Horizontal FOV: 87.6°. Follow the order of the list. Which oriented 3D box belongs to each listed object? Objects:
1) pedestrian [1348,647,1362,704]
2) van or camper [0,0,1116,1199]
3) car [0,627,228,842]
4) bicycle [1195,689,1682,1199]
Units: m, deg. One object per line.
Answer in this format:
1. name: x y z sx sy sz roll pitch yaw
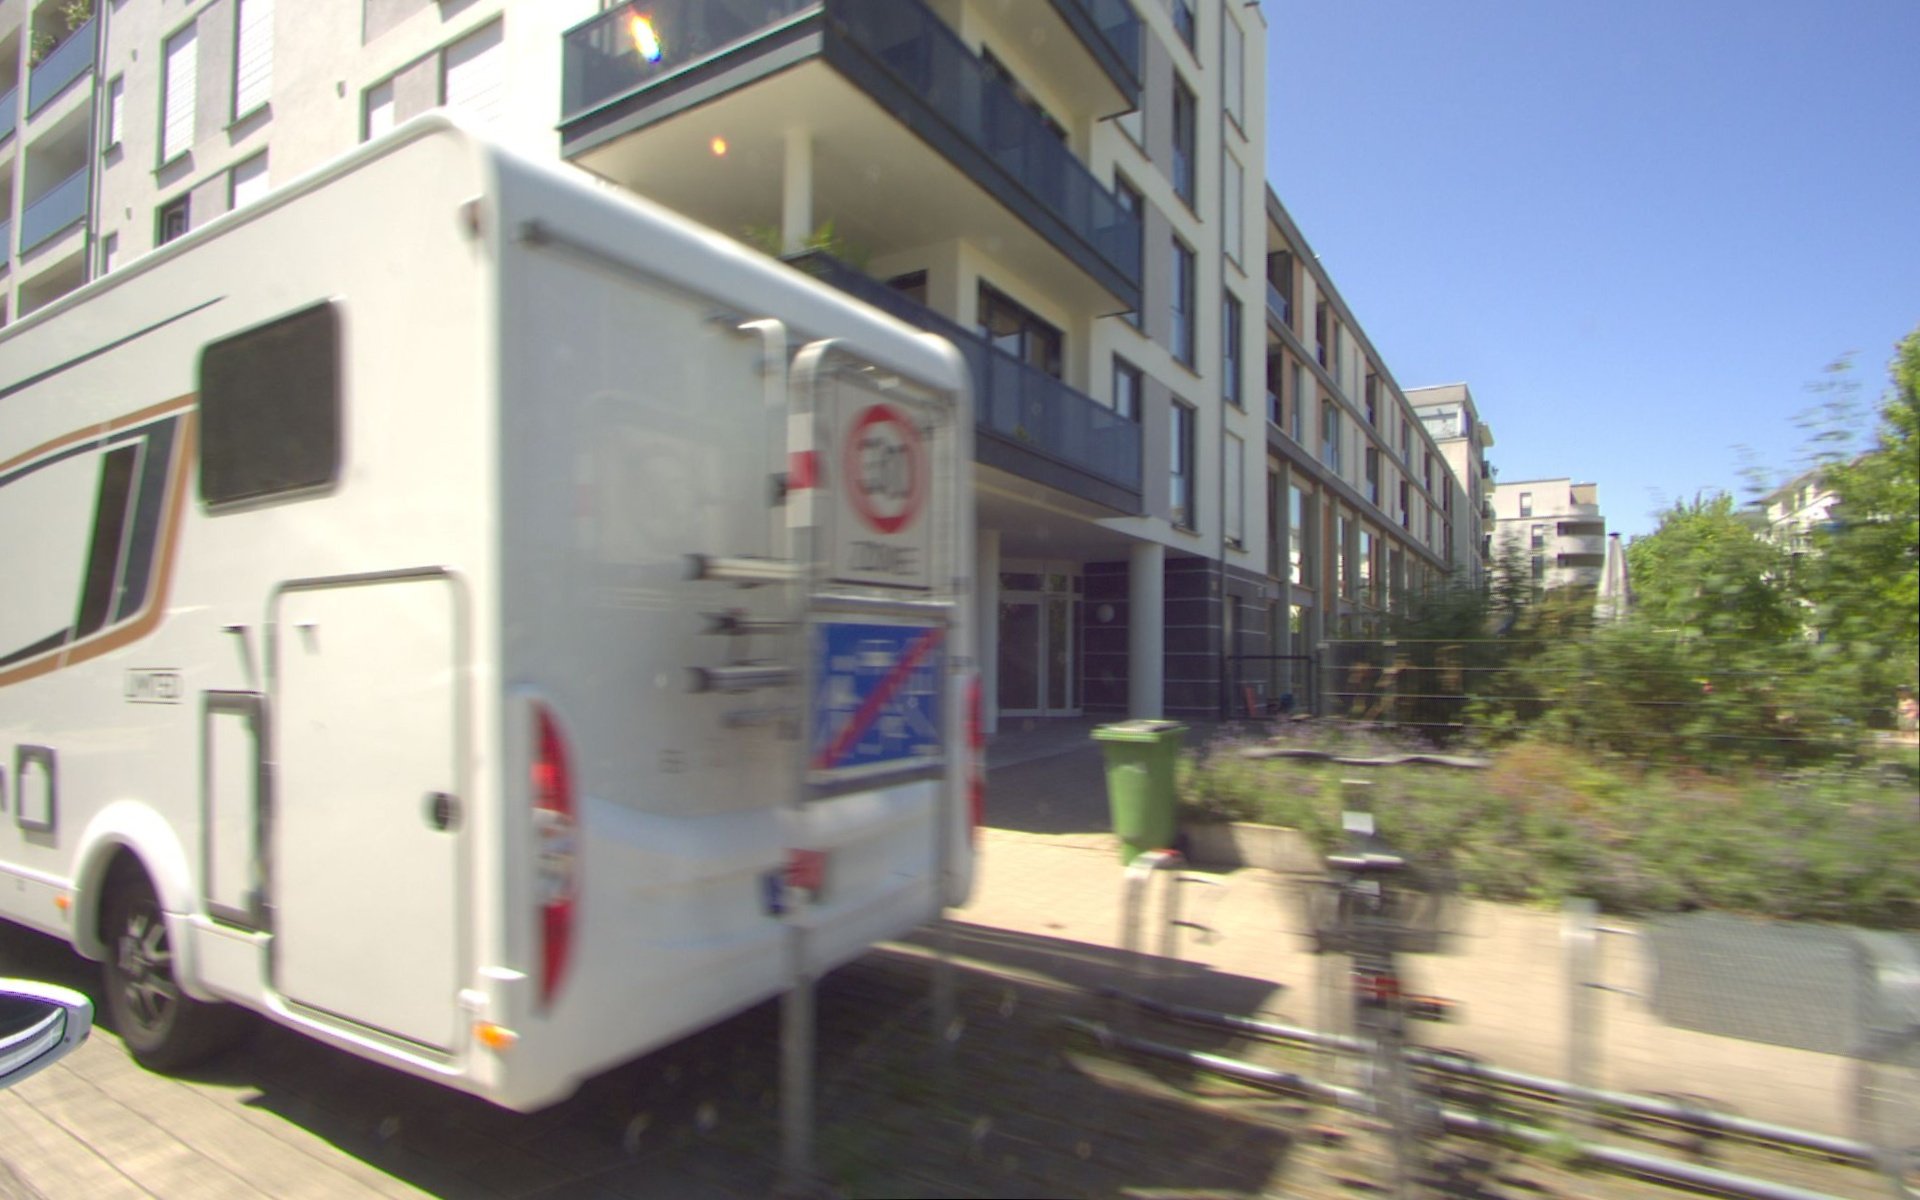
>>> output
1. pedestrian: 12.244 2.335 31.016 0.390 1.711 0.462 0 -3 22
2. van or camper: -3.263 0.213 5.080 7.714 2.941 2.436 -2 -4 32
3. car: -8.348 1.005 8.627 4.198 1.524 1.805 -1 -2 31
4. bicycle: 1.120 0.944 2.766 0.811 1.239 1.920 1 -1 16
